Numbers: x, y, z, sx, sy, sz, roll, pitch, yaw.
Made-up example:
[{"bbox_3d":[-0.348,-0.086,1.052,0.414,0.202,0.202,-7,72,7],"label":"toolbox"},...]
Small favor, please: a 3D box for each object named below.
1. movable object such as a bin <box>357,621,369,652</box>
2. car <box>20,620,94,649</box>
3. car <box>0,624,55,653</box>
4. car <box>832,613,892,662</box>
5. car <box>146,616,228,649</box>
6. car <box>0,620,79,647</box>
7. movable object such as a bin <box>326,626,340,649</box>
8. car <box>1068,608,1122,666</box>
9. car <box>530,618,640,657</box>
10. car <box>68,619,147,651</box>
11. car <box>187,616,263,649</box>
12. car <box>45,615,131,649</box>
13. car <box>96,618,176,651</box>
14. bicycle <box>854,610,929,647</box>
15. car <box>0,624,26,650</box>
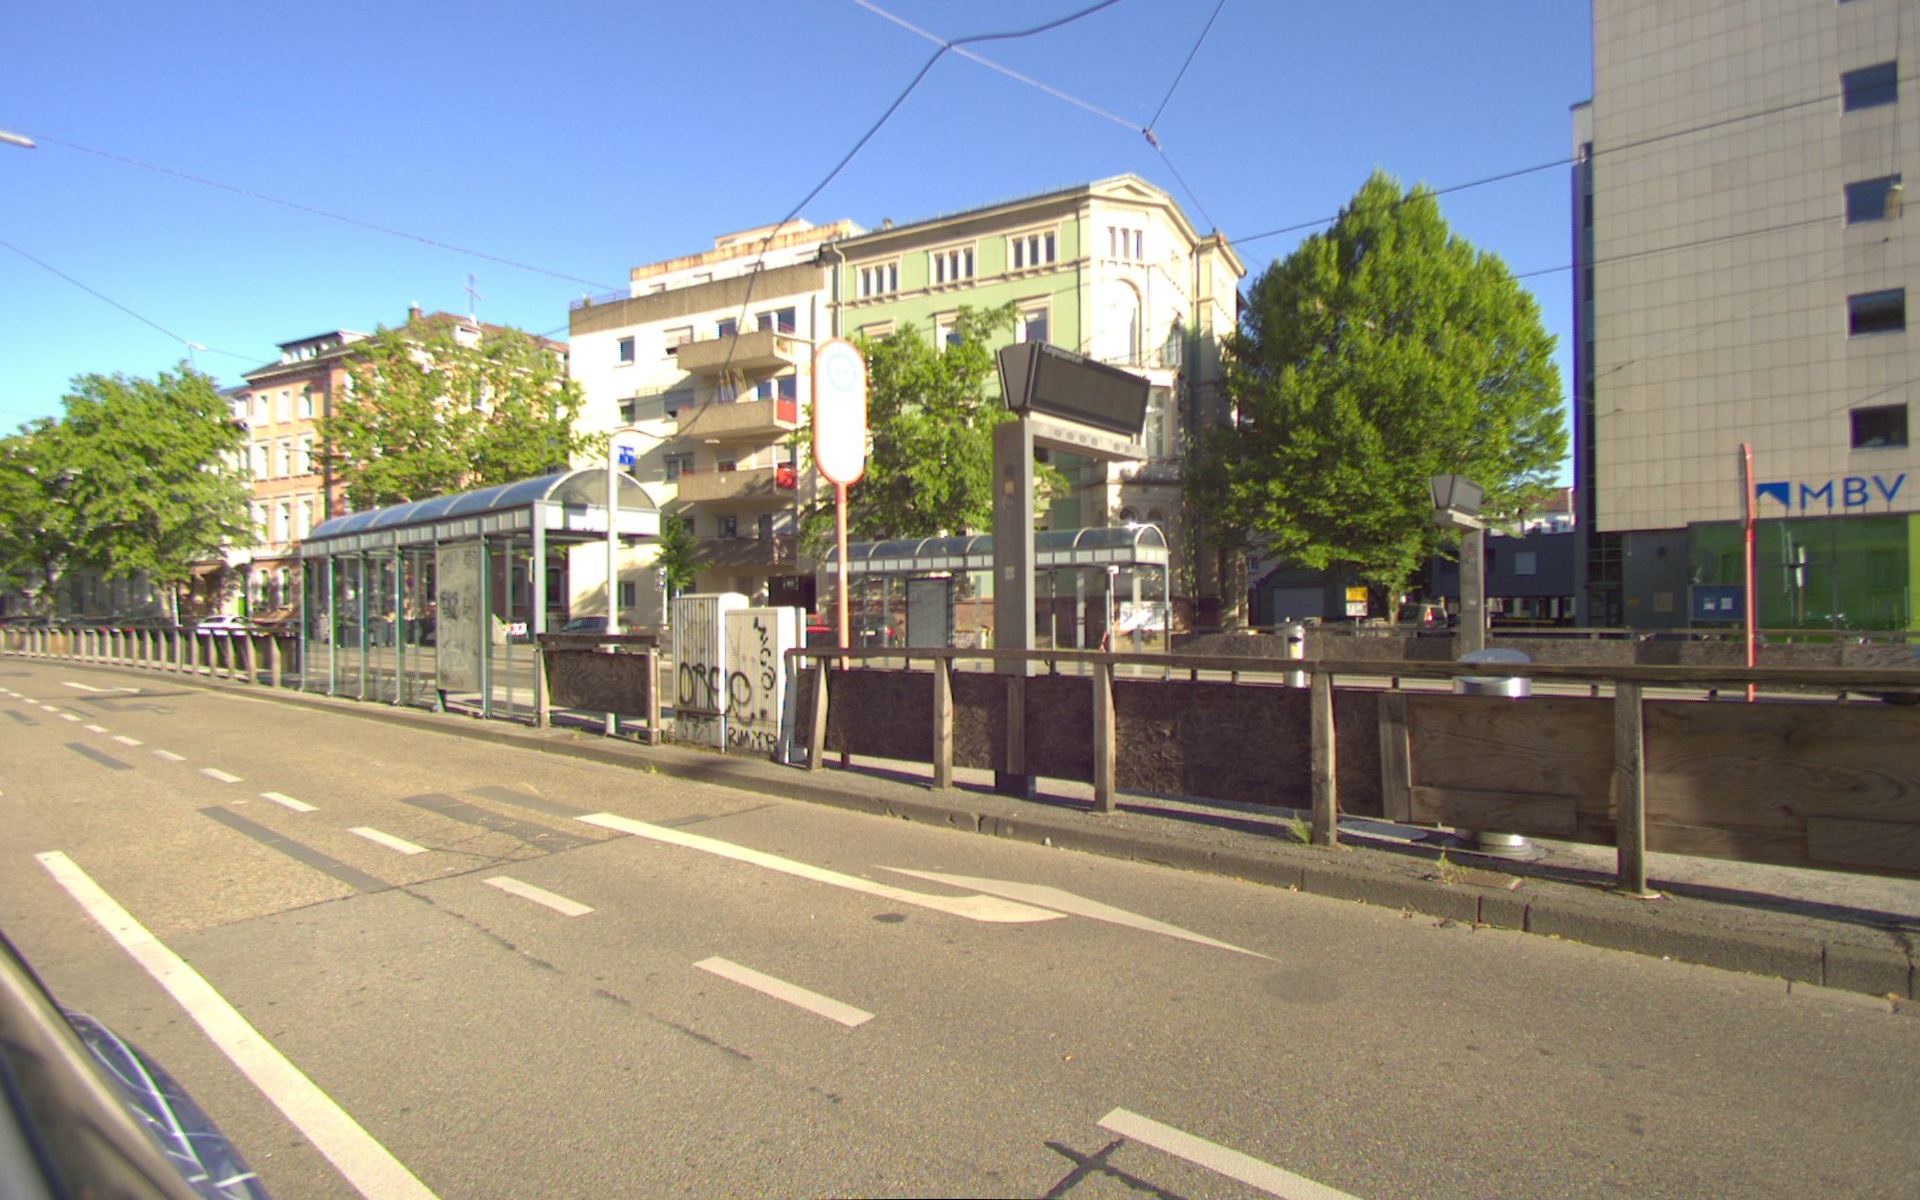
[{"bbox_3d":[-28.449,1.745,48.256,0.385,1.437,0.375,-1,-1,40],"label":"movable object such as a bin"},{"bbox_3d":[-55.638,2.096,62.399,1.682,1.544,3.284,-2,2,-3],"label":"car"},{"bbox_3d":[-60.897,2.459,65.196,1.748,1.666,3.871,-1,1,-1],"label":"car"},{"bbox_3d":[-3.235,1.197,33.734,1.845,1.436,4.521,0,1,-5],"label":"car"},{"bbox_3d":[-42.418,1.768,55.641,1.664,1.519,3.926,-2,1,-4],"label":"car"},{"bbox_3d":[-58.043,2.061,63.770,1.745,1.496,3.823,-1,1,-1],"label":"car"},{"bbox_3d":[-29.839,1.786,48.169,0.639,1.076,0.375,-1,-1,40],"label":"movable object such as a bin"},{"bbox_3d":[4.259,1.098,31.788,1.572,1.581,4.504,0,1,8],"label":"car"},{"bbox_3d":[-14.358,1.411,38.681,4.278,1.421,1.693,-1,-1,32],"label":"car"},{"bbox_3d":[-49.443,1.995,58.797,1.609,1.629,3.993,-2,1,-7],"label":"car"},{"bbox_3d":[-39.440,1.718,54.411,1.708,1.533,3.924,-2,1,-9],"label":"car"},{"bbox_3d":[-52.302,1.890,60.810,1.682,1.735,4.291,0,2,-4],"label":"car"},{"bbox_3d":[-46.853,1.948,57.640,1.609,1.629,3.993,-2,1,-7],"label":"car"},{"bbox_3d":[-2.689,1.095,39.507,2.995,1.409,0.713,-1,-1,27],"label":"bicycle"},{"bbox_3d":[-64.025,2.484,66.534,1.748,1.666,3.872,-1,1,-1],"label":"car"}]
